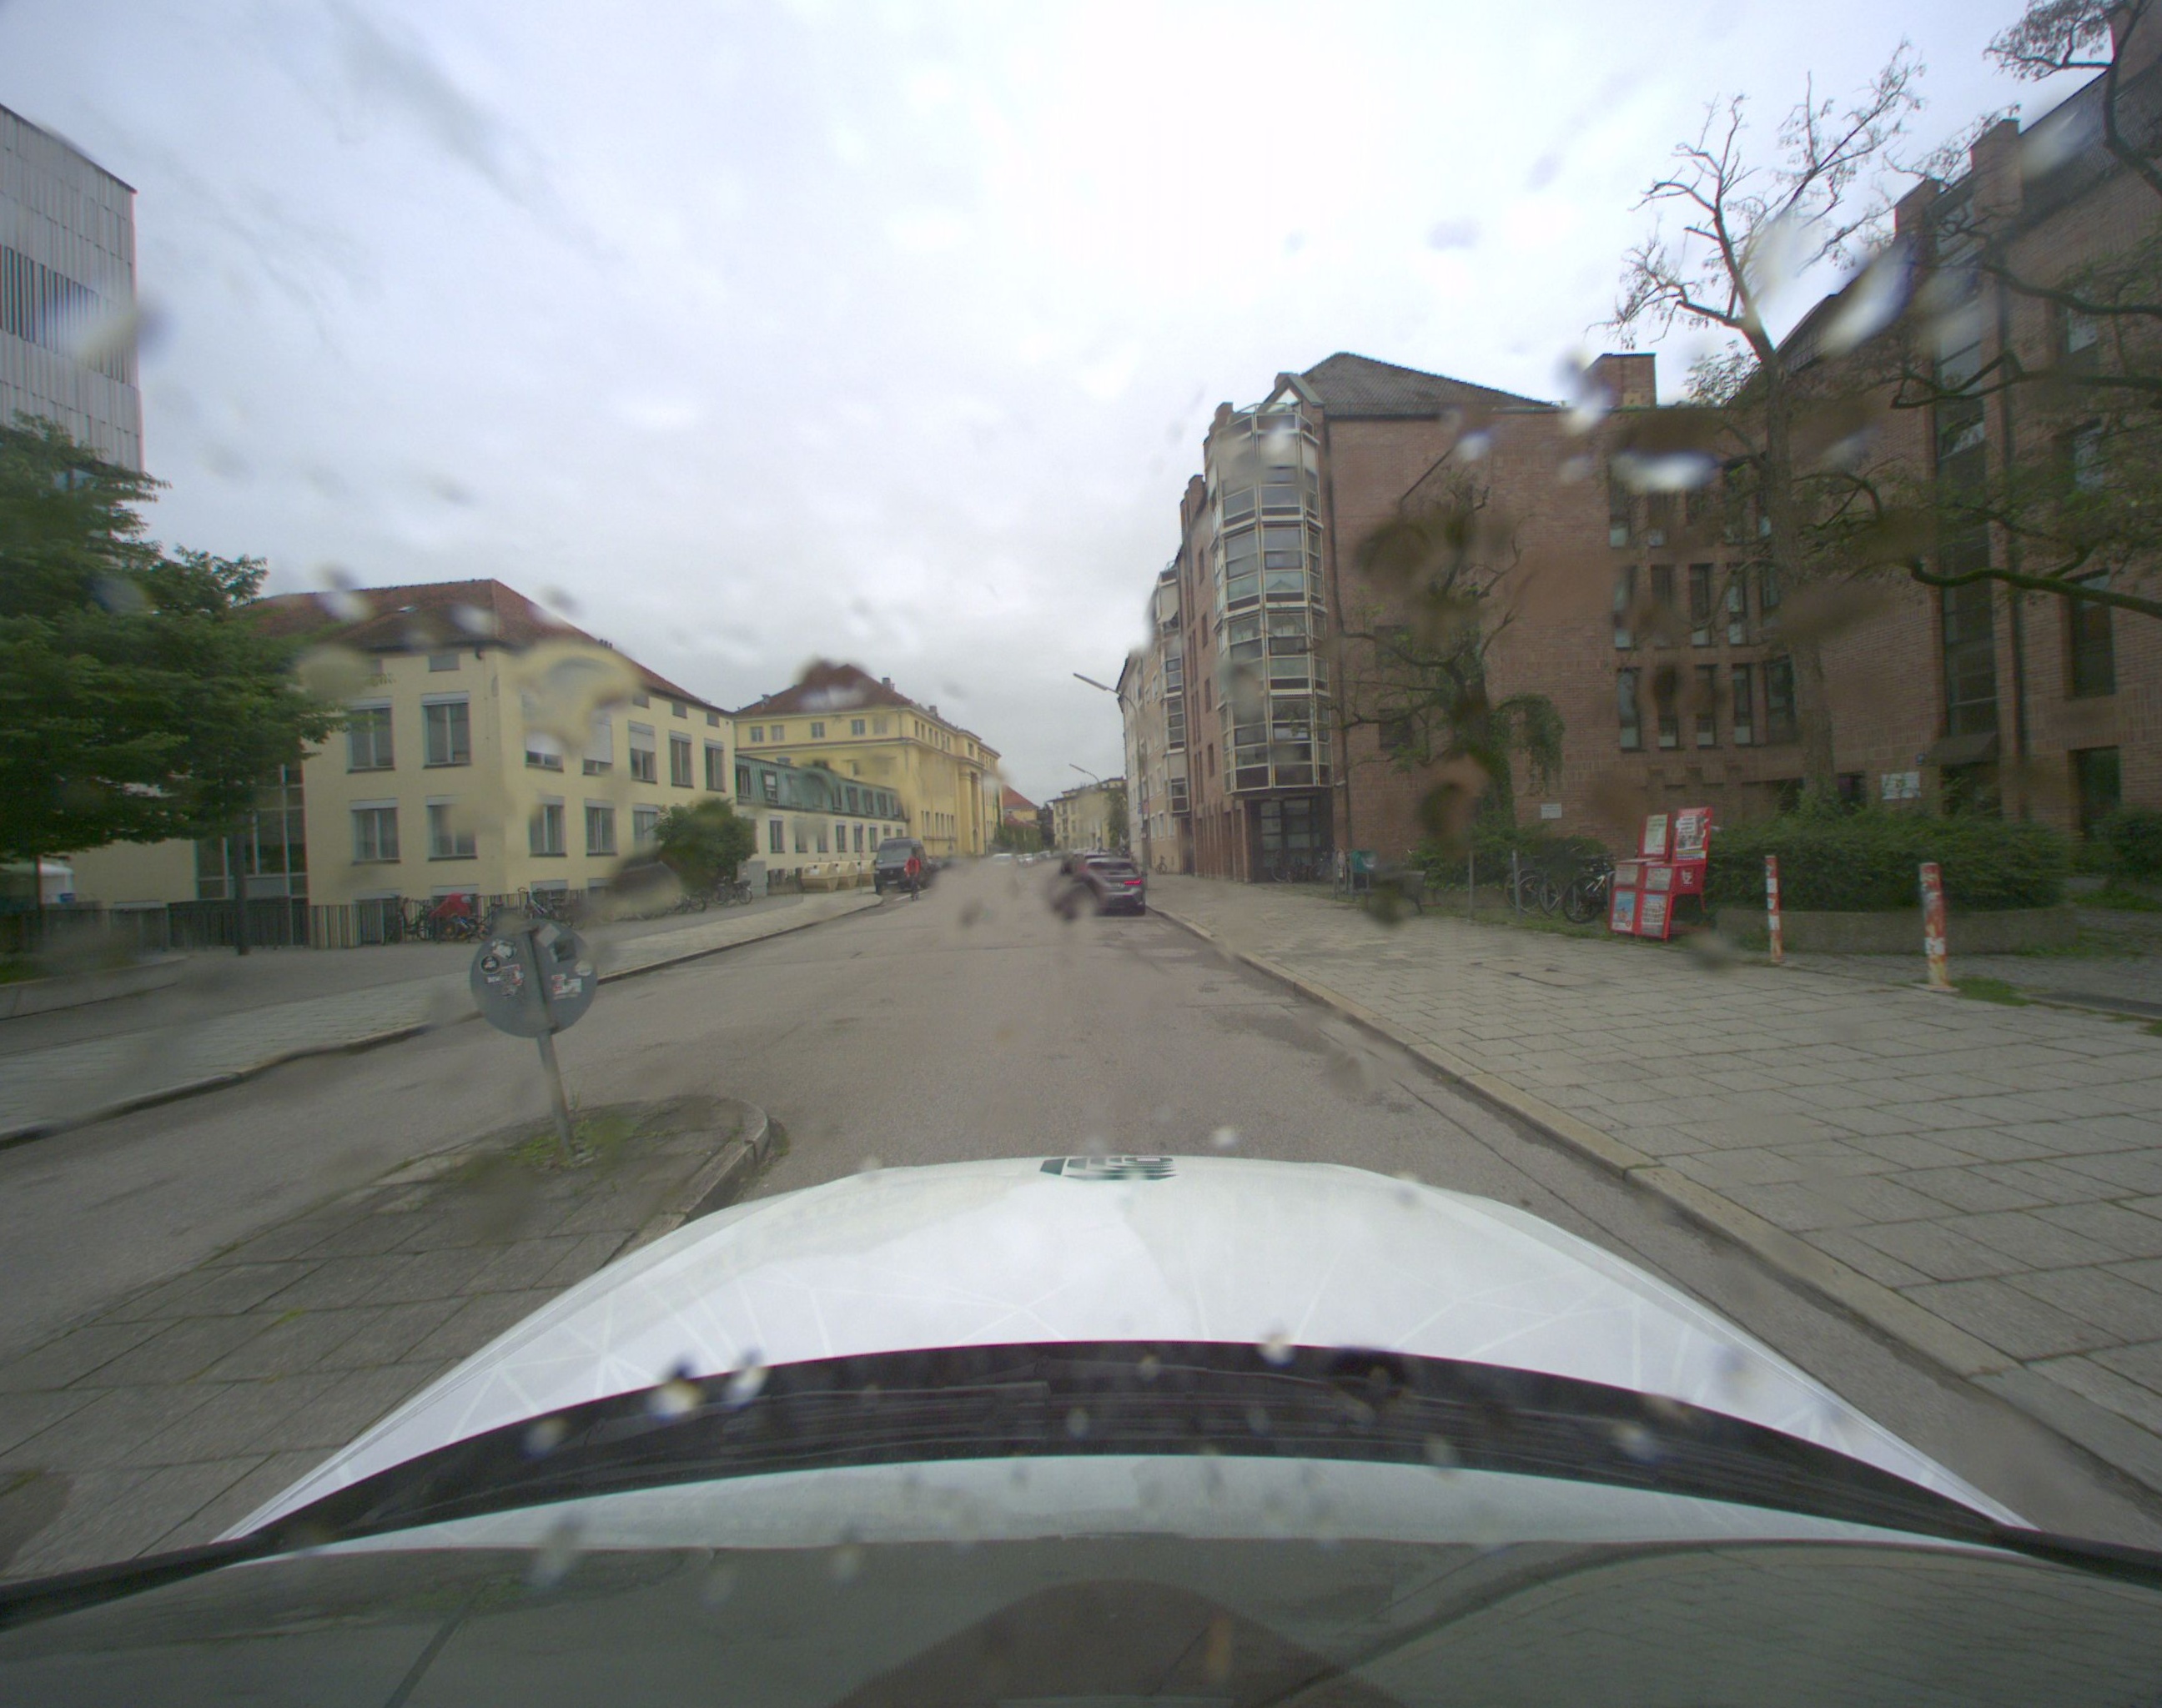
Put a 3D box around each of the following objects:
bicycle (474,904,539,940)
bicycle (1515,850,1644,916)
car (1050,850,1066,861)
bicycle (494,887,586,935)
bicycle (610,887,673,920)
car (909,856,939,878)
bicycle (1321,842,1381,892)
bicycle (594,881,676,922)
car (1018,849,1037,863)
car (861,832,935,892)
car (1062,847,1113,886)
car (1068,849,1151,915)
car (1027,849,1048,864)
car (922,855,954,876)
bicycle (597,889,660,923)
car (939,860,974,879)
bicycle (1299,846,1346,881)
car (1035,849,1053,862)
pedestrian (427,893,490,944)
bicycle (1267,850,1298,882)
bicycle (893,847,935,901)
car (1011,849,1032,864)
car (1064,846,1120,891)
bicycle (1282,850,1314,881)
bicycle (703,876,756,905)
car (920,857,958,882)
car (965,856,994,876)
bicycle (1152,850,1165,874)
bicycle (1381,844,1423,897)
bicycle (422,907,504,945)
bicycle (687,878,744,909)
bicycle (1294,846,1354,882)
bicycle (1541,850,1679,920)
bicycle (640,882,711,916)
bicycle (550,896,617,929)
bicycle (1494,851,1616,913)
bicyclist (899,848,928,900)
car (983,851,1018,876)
[{"bbox_3d":[-14.603,1.732,20.695,1.365,0.862,0.440,-1,1,5],"label":"bicycle"},{"bbox_3d":[7.787,0.437,12.747,1.695,0.965,0.546,-1,1,-1],"label":"bicycle"},{"bbox_3d":[-3.391,0.219,119.843,1.986,1.548,4.003,-1,1,2],"label":"car"},{"bbox_3d":[-14.934,1.571,22.503,2.092,1.227,0.789,-1,1,9],"label":"bicycle"},{"bbox_3d":[-14.616,1.656,27.109,1.855,1.029,0.541,-1,1,9],"label":"bicycle"},{"bbox_3d":[-12.587,1.037,65.498,1.597,1.660,2.813,-1,1,5],"label":"car"},{"bbox_3d":[7.074,0.346,21.483,0.533,1.248,2.408,-1,-1,-6],"label":"bicycle"},{"bbox_3d":[-14.503,1.553,26.465,2.538,1.206,0.425,-3,1,9],"label":"bicycle"},{"bbox_3d":[-5.944,0.233,91.217,1.690,1.444,3.512,-1,1,3],"label":"car"},{"bbox_3d":[-9.238,0.420,41.689,2.416,2.715,5.948,-4,-1,-2],"label":"car"},{"bbox_3d":[0.216,0.522,37.275,1.961,1.602,4.664,-1,1,-4],"label":"car"},{"bbox_3d":[0.654,0.655,21.445,1.919,1.512,4.390,-1,0,-1],"label":"car"},{"bbox_3d":[-5.143,0.287,96.721,1.986,1.548,4.003,-1,1,2],"label":"car"},{"bbox_3d":[-12.164,0.966,69.580,1.711,1.660,3.754,-1,1,5],"label":"car"},{"bbox_3d":[-14.260,1.640,25.671,1.780,1.033,0.509,-1,1,9],"label":"bicycle"},{"bbox_3d":[-8.825,1.085,57.936,1.520,1.202,3.749,-1,1,7],"label":"car"},{"bbox_3d":[8.098,0.325,27.332,1.469,1.147,0.383,-1,1,5],"label":"bicycle"},{"bbox_3d":[-4.822,0.152,106.421,1.986,1.548,4.003,-1,1,2],"label":"car"},{"bbox_3d":[-15.617,1.600,20.451,0.715,1.163,1.042,-1,1,4],"label":"pedestrian"},{"bbox_3d":[7.055,0.406,28.549,0.485,1.060,1.993,-1,-1,-3],"label":"bicycle"},{"bbox_3d":[-6.761,0.768,33.140,0.744,2.013,2.852,-5,1,5],"label":"bicycle"},{"bbox_3d":[-6.058,0.264,83.558,1.690,1.444,3.512,-1,1,3],"label":"car"},{"bbox_3d":[0.355,0.507,32.049,1.827,1.602,4.260,-1,1,-4],"label":"car"},{"bbox_3d":[7.591,0.385,28.612,0.485,1.060,1.993,-1,0,-3],"label":"bicycle"},{"bbox_3d":[-14.169,1.472,32.843,1.893,1.092,0.679,-1,1,9],"label":"bicycle"},{"bbox_3d":[-9.218,0.993,53.157,1.693,1.453,3.743,-1,1,1],"label":"car"},{"bbox_3d":[-8.444,0.971,68.159,1.765,1.550,3.780,-1,1,2],"label":"car"},{"bbox_3d":[4.549,0.452,47.850,0.467,1.288,2.675,-1,1,0],"label":"bicycle"},{"bbox_3d":[7.544,0.370,19.124,0.416,1.173,1.370,0,1,44],"label":"bicycle"},{"bbox_3d":[-14.970,1.744,19.726,1.710,0.862,0.440,-1,1,5],"label":"bicycle"},{"bbox_3d":[-13.979,1.518,31.155,1.945,1.131,0.574,-1,1,9],"label":"bicycle"},{"bbox_3d":[8.007,0.334,26.882,1.839,1.147,0.488,-1,1,5],"label":"bicycle"},{"bbox_3d":[7.809,0.451,12.048,1.695,0.965,0.546,-1,1,-1],"label":"bicycle"},{"bbox_3d":[-14.171,1.562,28.477,2.296,1.135,0.583,-1,1,9],"label":"bicycle"},{"bbox_3d":[-14.712,1.719,24.105,1.664,0.916,0.597,-1,1,9],"label":"bicycle"},{"bbox_3d":[7.799,0.449,13.420,1.695,0.965,0.546,-1,1,-1],"label":"bicycle"},{"bbox_3d":[-6.776,0.806,32.937,0.763,2.013,0.769,-6,0,4],"label":"bicyclist"},{"bbox_3d":[-5.901,0.699,60.173,2.019,1.621,4.505,-5,-1,0],"label":"car"}]
